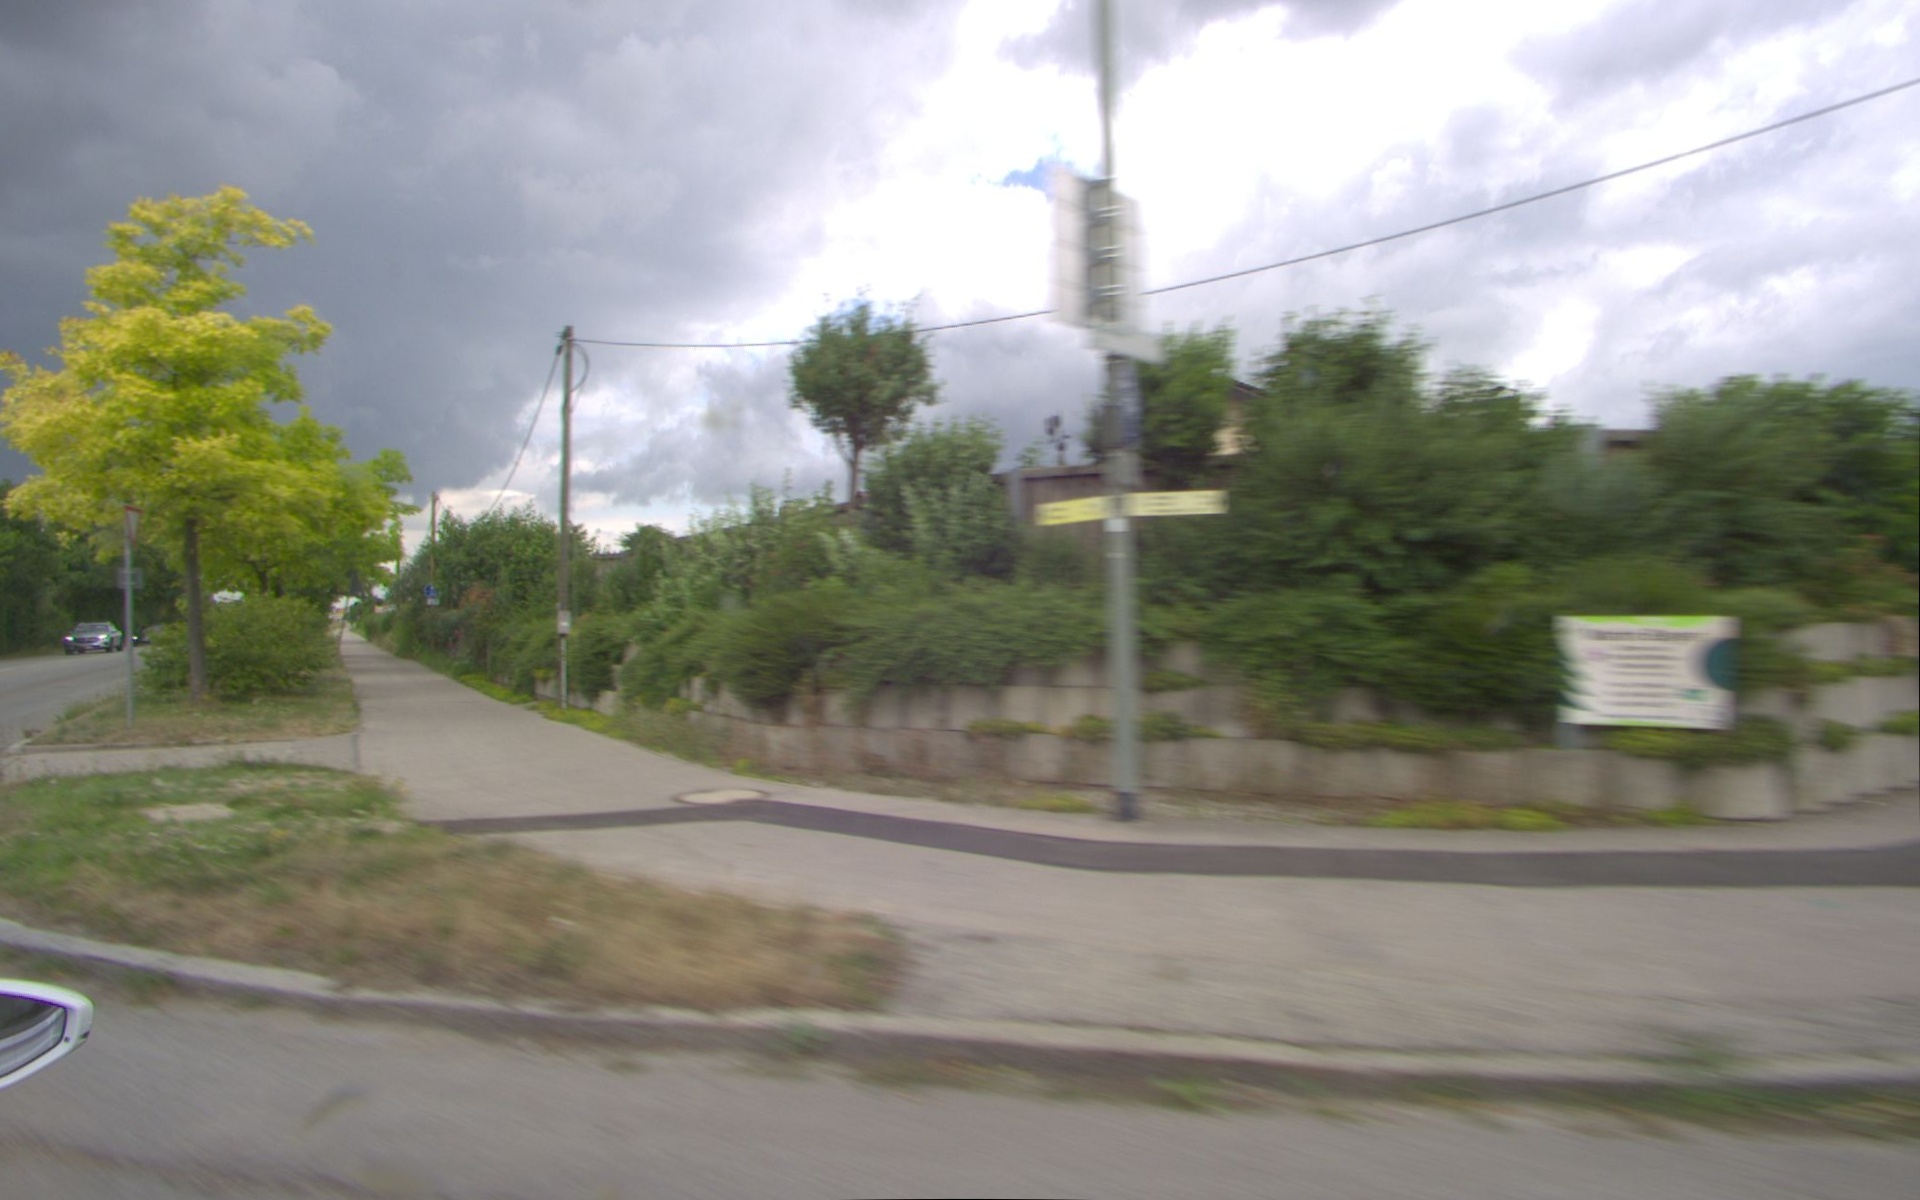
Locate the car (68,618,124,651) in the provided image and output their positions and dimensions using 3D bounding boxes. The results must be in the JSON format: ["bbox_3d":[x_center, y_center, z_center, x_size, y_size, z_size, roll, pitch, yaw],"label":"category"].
[{"bbox_3d":[-46.728,1.854,54.245,1.976,1.622,4.631,-3,0,-38],"label":"car"}]

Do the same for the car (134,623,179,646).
[{"bbox_3d":[-56.830,2.442,70.871,1.973,1.437,4.451,-3,0,-33],"label":"car"}]

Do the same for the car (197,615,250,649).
[{"bbox_3d":[-45.770,2.006,62.310,2.347,1.905,4.451,-3,0,-33],"label":"car"}]
